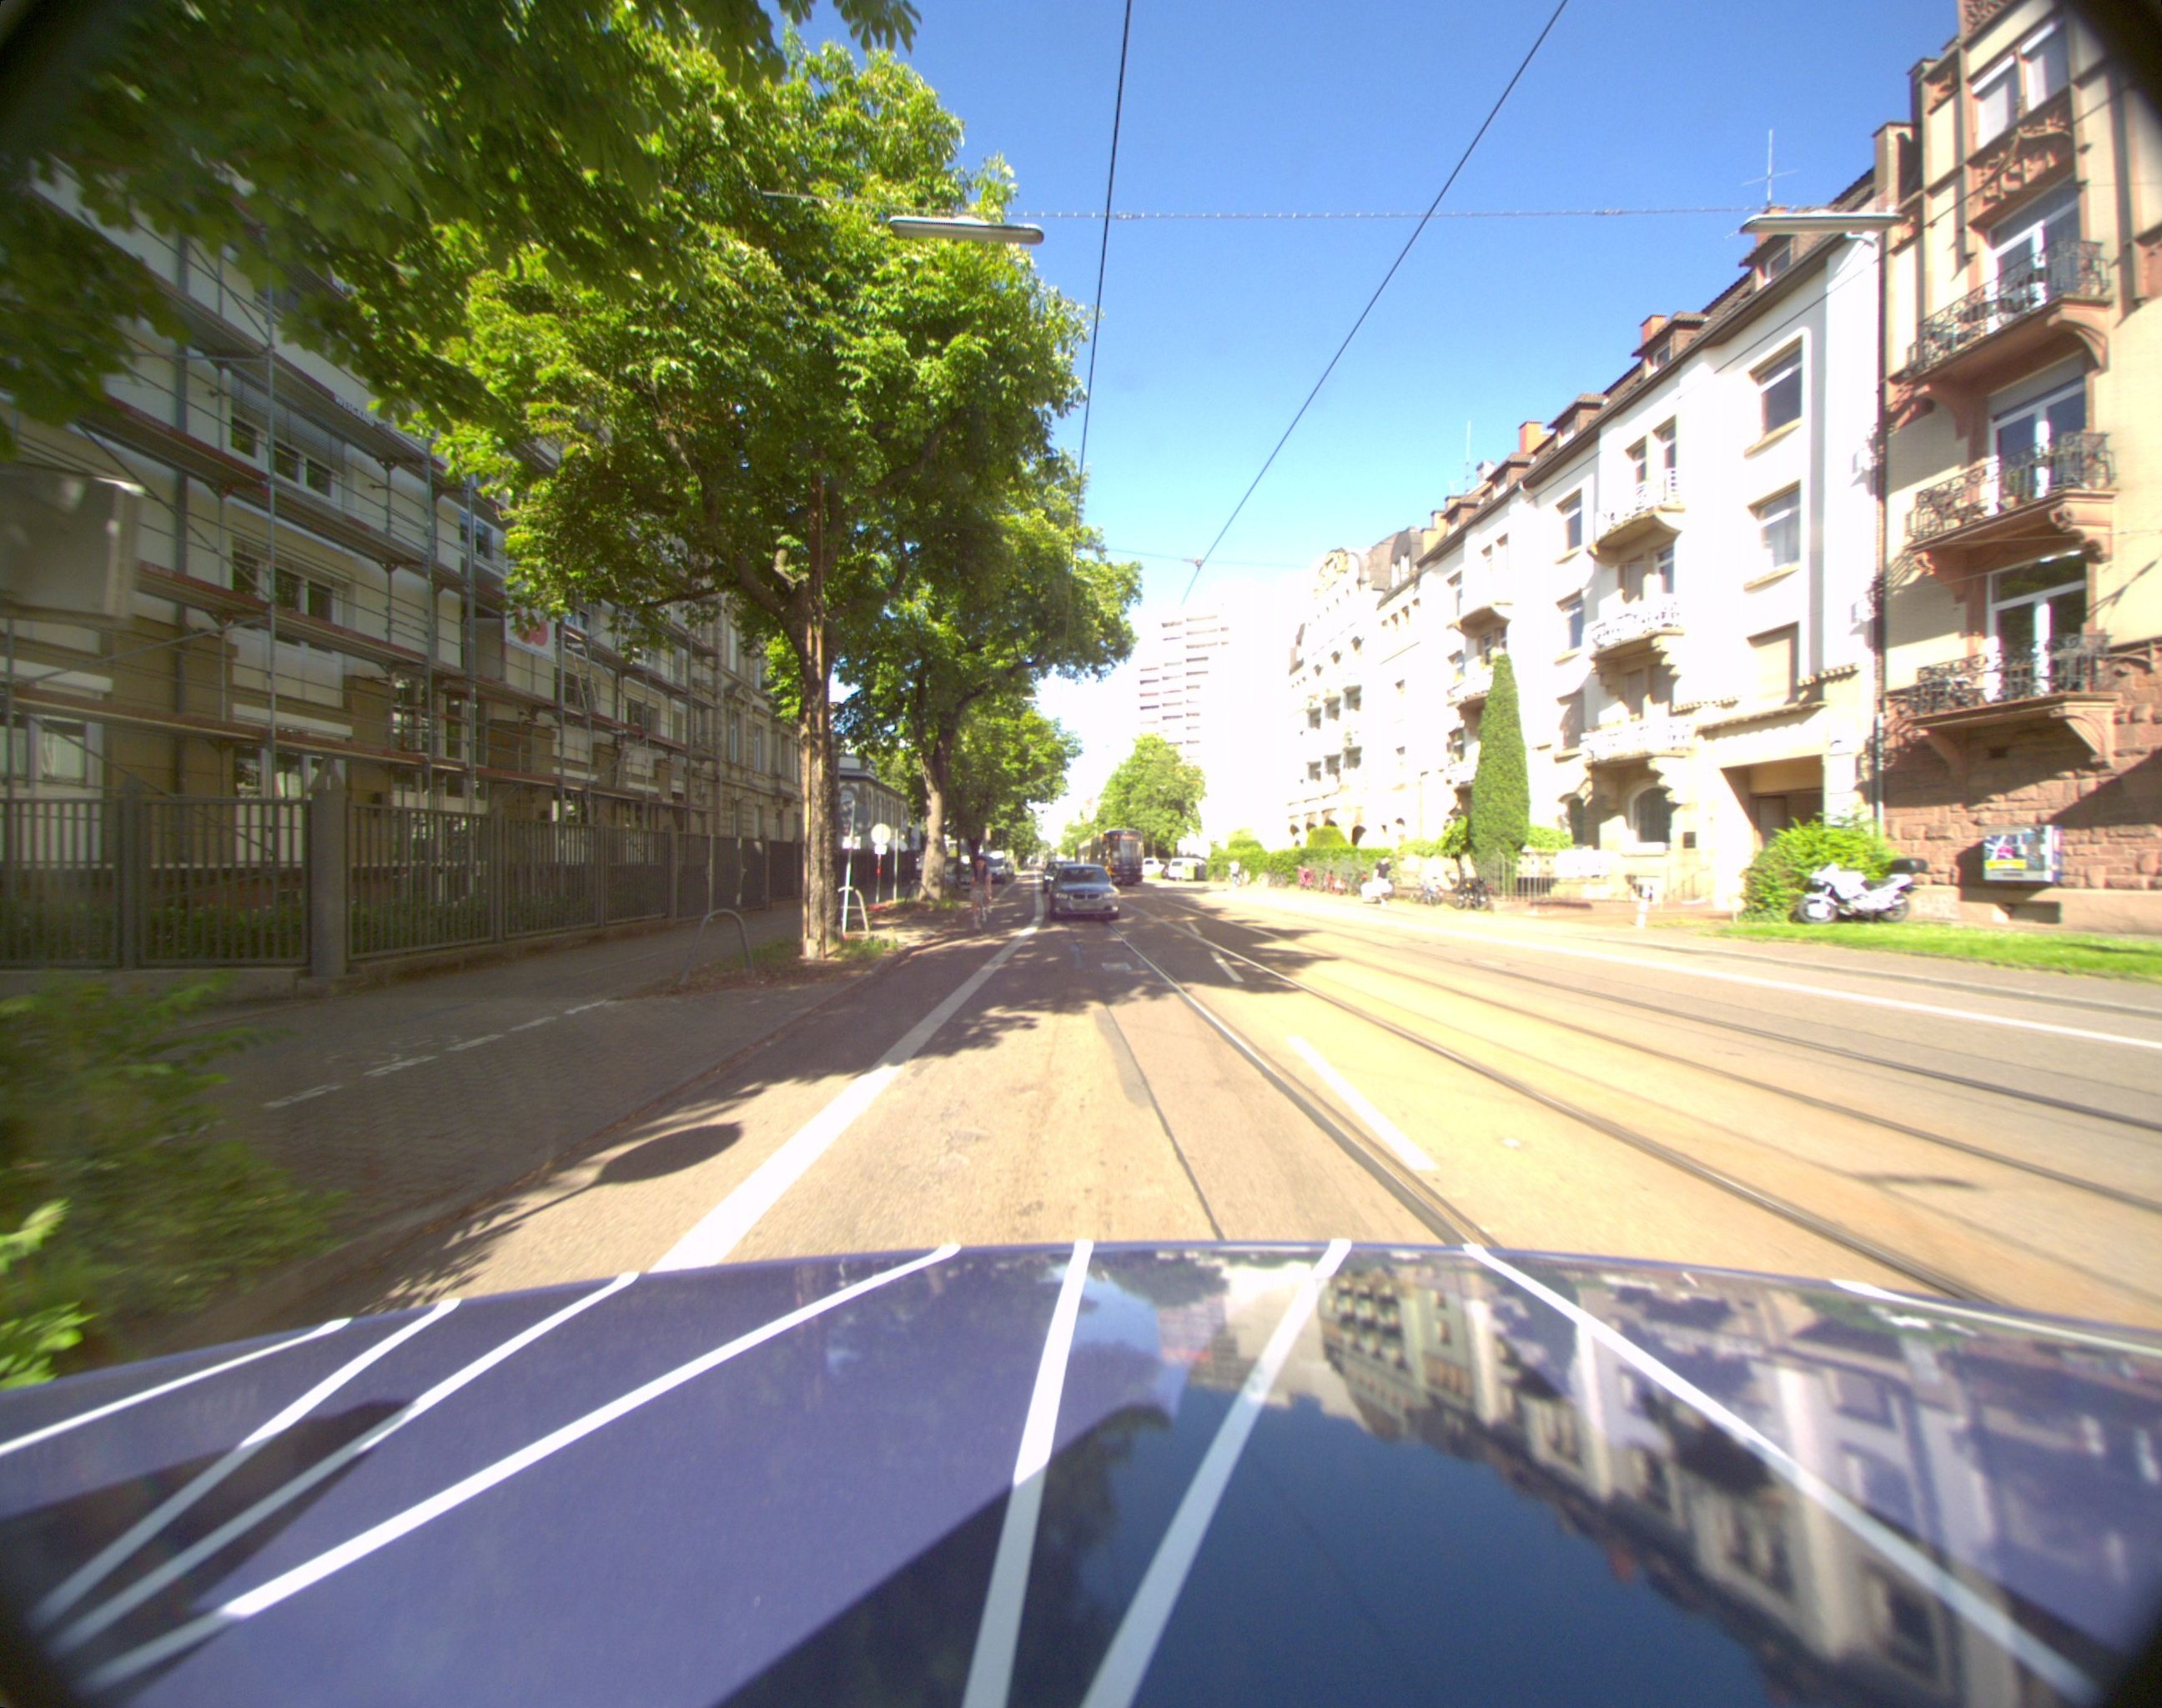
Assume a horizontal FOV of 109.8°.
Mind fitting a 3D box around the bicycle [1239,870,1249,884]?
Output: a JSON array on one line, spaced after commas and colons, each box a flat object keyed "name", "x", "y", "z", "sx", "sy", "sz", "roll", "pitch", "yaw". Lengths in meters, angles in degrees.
[{"name": "bicycle", "x": 9.896, "y": 1.401, "z": 46.219, "sx": 0.318, "sy": 0.757, "sz": 1.263, "roll": -1, "pitch": 1, "yaw": -1}]

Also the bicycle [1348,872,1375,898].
[{"name": "bicycle", "x": 10.869, "y": 1.194, "z": 29.490, "sx": 0.405, "sy": 0.937, "sz": 1.648, "roll": -1, "pitch": 1, "yaw": -1}]

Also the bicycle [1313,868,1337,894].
[{"name": "bicycle", "x": 10.598, "y": 1.159, "z": 33.033, "sx": 0.405, "sy": 1.018, "sz": 1.815, "roll": -1, "pitch": 1, "yaw": -1}]

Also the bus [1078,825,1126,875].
[{"name": "bus", "x": 1.588, "y": -0.337, "z": 62.567, "sx": 2.868, "sy": 3.755, "sz": 11.178, "roll": -1, "pitch": 0, "yaw": -4}]

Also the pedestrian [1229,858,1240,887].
[{"name": "pedestrian", "x": 8.798, "y": 1.053, "z": 43.571, "sx": 0.476, "sy": 1.619, "sz": 0.659, "roll": -1, "pitch": 1, "yaw": -1}]

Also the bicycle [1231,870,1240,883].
[{"name": "bicycle", "x": 9.767, "y": 1.406, "z": 48.012, "sx": 0.297, "sy": 0.757, "sz": 1.263, "roll": -1, "pitch": 1, "yaw": -1}]

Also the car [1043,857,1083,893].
[{"name": "car", "x": -0.880, "y": 0.980, "z": 37.158, "sx": 1.828, "sy": 1.559, "sz": 3.999, "roll": -1, "pitch": 1, "yaw": -1}]

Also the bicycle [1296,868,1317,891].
[{"name": "bicycle", "x": 10.468, "y": 1.175, "z": 35.328, "sx": 0.405, "sy": 1.018, "sz": 1.815, "roll": -1, "pitch": 1, "yaw": -1}]

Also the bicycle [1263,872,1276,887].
[{"name": "bicycle", "x": 10.242, "y": 1.400, "z": 41.255, "sx": 0.339, "sy": 0.757, "sz": 1.263, "roll": -1, "pitch": 1, "yaw": -1}]

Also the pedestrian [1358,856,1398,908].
[{"name": "pedestrian", "x": 9.846, "y": 0.910, "z": 25.226, "sx": 0.869, "sy": 1.619, "sz": 0.870, "roll": -5, "pitch": 1, "yaw": -1}]

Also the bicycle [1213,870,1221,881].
[{"name": "bicycle", "x": 9.465, "y": 1.487, "z": 52.756, "sx": 0.297, "sy": 0.757, "sz": 1.263, "roll": -1, "pitch": 1, "yaw": -1}]

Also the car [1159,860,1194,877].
[{"name": "car", "x": 8.551, "y": 1.303, "z": 68.302, "sx": 2.758, "sy": 1.427, "sz": 1.457, "roll": -1, "pitch": 1, "yaw": -18}]

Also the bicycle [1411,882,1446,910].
[{"name": "bicycle", "x": 11.031, "y": 1.321, "z": 24.184, "sx": 0.318, "sy": 0.757, "sz": 1.651, "roll": -1, "pitch": 1, "yaw": -1}]

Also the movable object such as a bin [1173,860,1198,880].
[{"name": "movable object such as a bin", "x": 8.036, "y": 1.234, "z": 58.495, "sx": 1.512, "sy": 1.424, "sz": 2.095, "roll": -1, "pitch": 1, "yaw": -1}]

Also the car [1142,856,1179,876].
[{"name": "car", "x": 7.939, "y": 1.153, "z": 75.375, "sx": 1.917, "sy": 1.860, "sz": 3.450, "roll": 0, "pitch": 1, "yaw": 43}]

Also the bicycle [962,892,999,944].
[{"name": "bicycle", "x": -2.149, "y": 1.352, "z": 16.402, "sx": 0.535, "sy": 0.917, "sz": 2.056, "roll": -1, "pitch": 1, "yaw": -1}]

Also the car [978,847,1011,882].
[{"name": "car", "x": -6.242, "y": 0.707, "z": 55.523, "sx": 2.133, "sy": 2.329, "sz": 5.802, "roll": 2, "pitch": 0, "yaw": -5}]

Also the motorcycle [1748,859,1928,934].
[{"name": "motorcycle", "x": 15.716, "y": 0.854, "z": 15.812, "sx": 3.093, "sy": 1.448, "sz": 0.823, "roll": -1, "pitch": 1, "yaw": -4}]

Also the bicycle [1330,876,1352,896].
[{"name": "bicycle", "x": 10.691, "y": 1.310, "z": 31.275, "sx": 0.318, "sy": 0.757, "sz": 1.542, "roll": -1, "pitch": 1, "yaw": -1}]

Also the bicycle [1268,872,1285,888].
[{"name": "bicycle", "x": 10.213, "y": 1.361, "z": 39.749, "sx": 0.405, "sy": 0.757, "sz": 1.581, "roll": -1, "pitch": 1, "yaw": -1}]

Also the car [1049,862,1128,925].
[{"name": "car", "x": 0.138, "y": 0.967, "z": 20.372, "sx": 1.870, "sy": 1.426, "sz": 3.999, "roll": -1, "pitch": 0, "yaw": -1}]

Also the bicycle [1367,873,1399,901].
[{"name": "bicycle", "x": 10.972, "y": 1.184, "z": 27.637, "sx": 0.405, "sy": 0.937, "sz": 1.748, "roll": -1, "pitch": 1, "yaw": -1}]

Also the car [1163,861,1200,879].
[{"name": "car", "x": 8.543, "y": 1.328, "z": 64.895, "sx": 2.758, "sy": 1.427, "sz": 1.457, "roll": -1, "pitch": 1, "yaw": -18}]

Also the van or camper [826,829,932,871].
[{"name": "van or camper", "x": -13.211, "y": -0.239, "z": 49.685, "sx": 6.721, "sy": 2.612, "sz": 2.126, "roll": -1, "pitch": 1, "yaw": 22}]

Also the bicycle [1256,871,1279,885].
[{"name": "bicycle", "x": 10.921, "y": 1.377, "z": 44.453, "sx": 1.262, "sy": 0.789, "sz": 0.297, "roll": -1, "pitch": 1, "yaw": -1}]

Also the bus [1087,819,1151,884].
[{"name": "bus", "x": 2.312, "y": -0.177, "z": 50.825, "sx": 2.858, "sy": 3.755, "sz": 12.192, "roll": -1, "pitch": 0, "yaw": -4}]

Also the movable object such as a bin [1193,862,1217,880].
[{"name": "movable object such as a bin", "x": 9.714, "y": 1.329, "z": 59.524, "sx": 1.501, "sy": 1.309, "sz": 2.095, "roll": -1, "pitch": 1, "yaw": -1}]

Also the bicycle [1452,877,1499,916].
[{"name": "bicycle", "x": 11.380, "y": 1.204, "z": 21.956, "sx": 0.405, "sy": 1.033, "sz": 1.748, "roll": -1, "pitch": 1, "yaw": -1}]

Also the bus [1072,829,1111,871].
[{"name": "bus", "x": 0.913, "y": -0.410, "z": 73.987, "sx": 2.868, "sy": 3.755, "sz": 11.493, "roll": -1, "pitch": 0, "yaw": -4}]

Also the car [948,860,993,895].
[{"name": "car", "x": -5.325, "y": 1.090, "z": 37.012, "sx": 1.877, "sy": 1.534, "sz": 4.363, "roll": 2, "pitch": 0, "yaw": -5}]

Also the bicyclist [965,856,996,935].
[{"name": "bicyclist", "x": -2.153, "y": 0.876, "z": 16.422, "sx": 0.532, "sy": 1.660, "sz": 0.878, "roll": -1, "pitch": 1, "yaw": -1}]

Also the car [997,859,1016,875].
[{"name": "car", "x": -7.624, "y": 1.348, "z": 78.466, "sx": 1.867, "sy": 1.541, "sz": 4.100, "roll": 0, "pitch": 0, "yaw": -5}]

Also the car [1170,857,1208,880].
[{"name": "car", "x": 8.812, "y": 1.194, "z": 61.930, "sx": 1.456, "sy": 1.763, "sz": 3.194, "roll": 0, "pitch": -2, "yaw": 43}]
